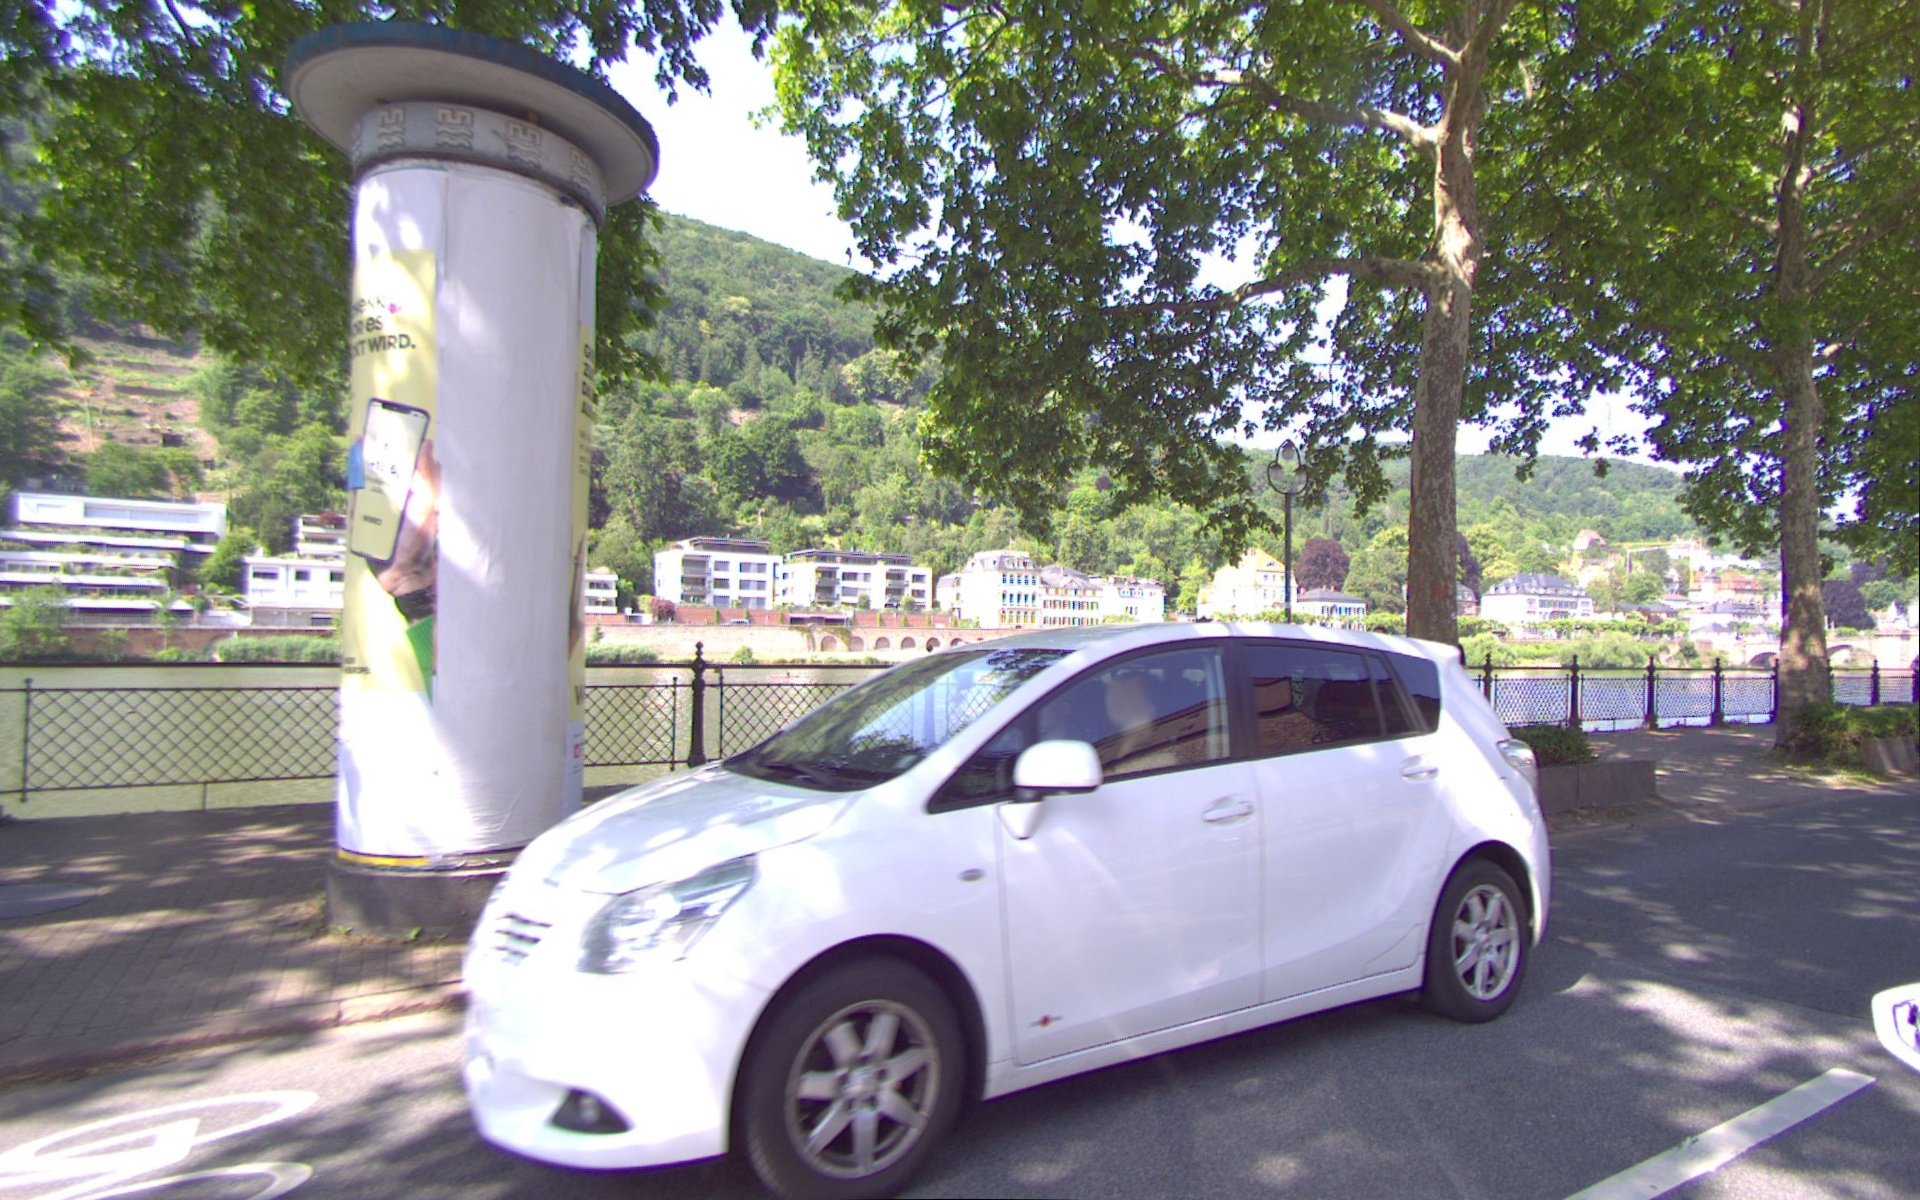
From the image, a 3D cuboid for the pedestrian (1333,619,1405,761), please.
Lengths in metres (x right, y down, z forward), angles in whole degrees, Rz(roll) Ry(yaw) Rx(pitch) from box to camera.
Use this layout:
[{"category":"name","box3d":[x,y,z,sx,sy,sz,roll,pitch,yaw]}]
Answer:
[{"category":"pedestrian","box3d":[5.068,1.096,12.455,0.577,1.708,0.598,2,-2,-31]}]

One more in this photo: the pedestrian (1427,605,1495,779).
[{"category":"pedestrian","box3d":[5.689,1.023,11.406,0.431,1.912,0.532,2,-1,-30]}]

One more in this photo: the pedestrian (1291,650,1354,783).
[{"category":"pedestrian","box3d":[3.928,1.245,10.891,0.411,1.381,0.477,2,0,-25]}]

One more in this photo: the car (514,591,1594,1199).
[{"category":"car","box3d":[0.504,0.902,4.043,4.043,1.592,1.731,2,-5,-30]}]

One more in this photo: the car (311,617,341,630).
[{"category":"car","box3d":[-104.110,3.847,164.987,3.953,2.040,1.984,1,0,-30]}]
